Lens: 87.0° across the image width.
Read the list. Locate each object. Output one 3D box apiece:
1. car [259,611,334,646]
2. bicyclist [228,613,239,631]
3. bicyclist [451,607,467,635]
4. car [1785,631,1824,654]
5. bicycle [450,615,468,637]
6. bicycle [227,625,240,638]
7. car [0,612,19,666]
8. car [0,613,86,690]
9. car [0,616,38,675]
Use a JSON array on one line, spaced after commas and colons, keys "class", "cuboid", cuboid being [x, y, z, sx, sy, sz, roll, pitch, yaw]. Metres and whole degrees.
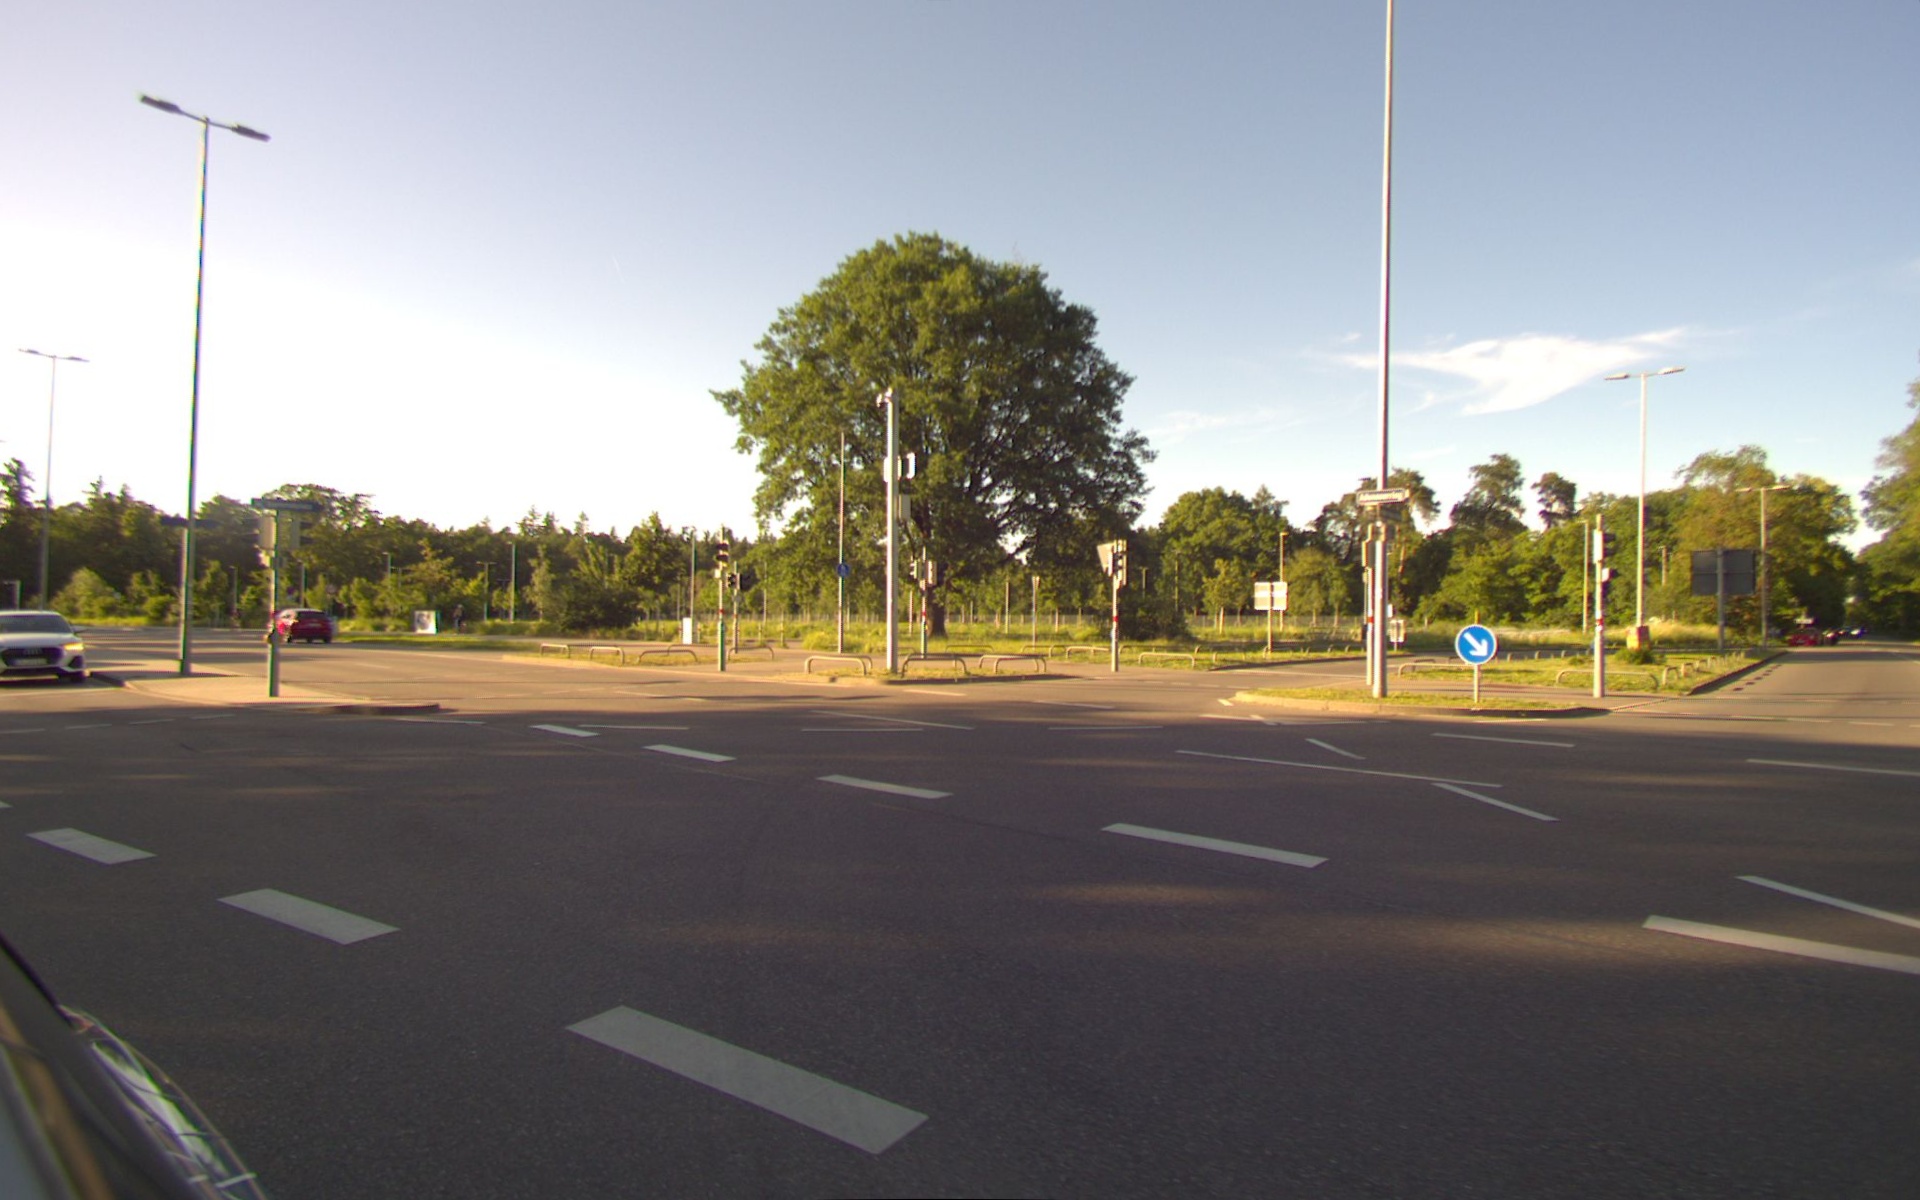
[{"class": "car", "cuboid": [-32.138, 1.346, 48.957, 4.570, 1.565, 1.866, -1, 0, 41]}, {"class": "bicyclist", "cuboid": [-58.881, 1.807, 82.017, 0.800, 1.424, 0.585, -1, 0, 45]}, {"class": "bicyclist", "cuboid": [-29.234, 1.228, 59.055, 0.672, 1.623, 0.801, 0, 0, -40]}, {"class": "car", "cuboid": [62.100, 3.075, 74.380, 3.938, 1.521, 1.659, -1, 0, -42]}, {"class": "bicycle", "cuboid": [-29.233, 1.493, 59.040, 0.487, 1.247, 1.798, 0, 0, -41]}, {"class": "bicycle", "cuboid": [-58.930, 2.580, 82.103, 1.362, 1.027, 0.576, -1, 0, 44]}, {"class": "car", "cuboid": [-30.179, 1.187, 30.866, 4.320, 1.595, 1.773, -1, -1, 42]}, {"class": "car", "cuboid": [-20.432, 1.072, 21.942, 4.300, 1.524, 1.814, -1, -1, 43]}, {"class": "car", "cuboid": [-25.276, 1.154, 26.266, 4.318, 1.438, 1.639, -1, -1, 43]}]
